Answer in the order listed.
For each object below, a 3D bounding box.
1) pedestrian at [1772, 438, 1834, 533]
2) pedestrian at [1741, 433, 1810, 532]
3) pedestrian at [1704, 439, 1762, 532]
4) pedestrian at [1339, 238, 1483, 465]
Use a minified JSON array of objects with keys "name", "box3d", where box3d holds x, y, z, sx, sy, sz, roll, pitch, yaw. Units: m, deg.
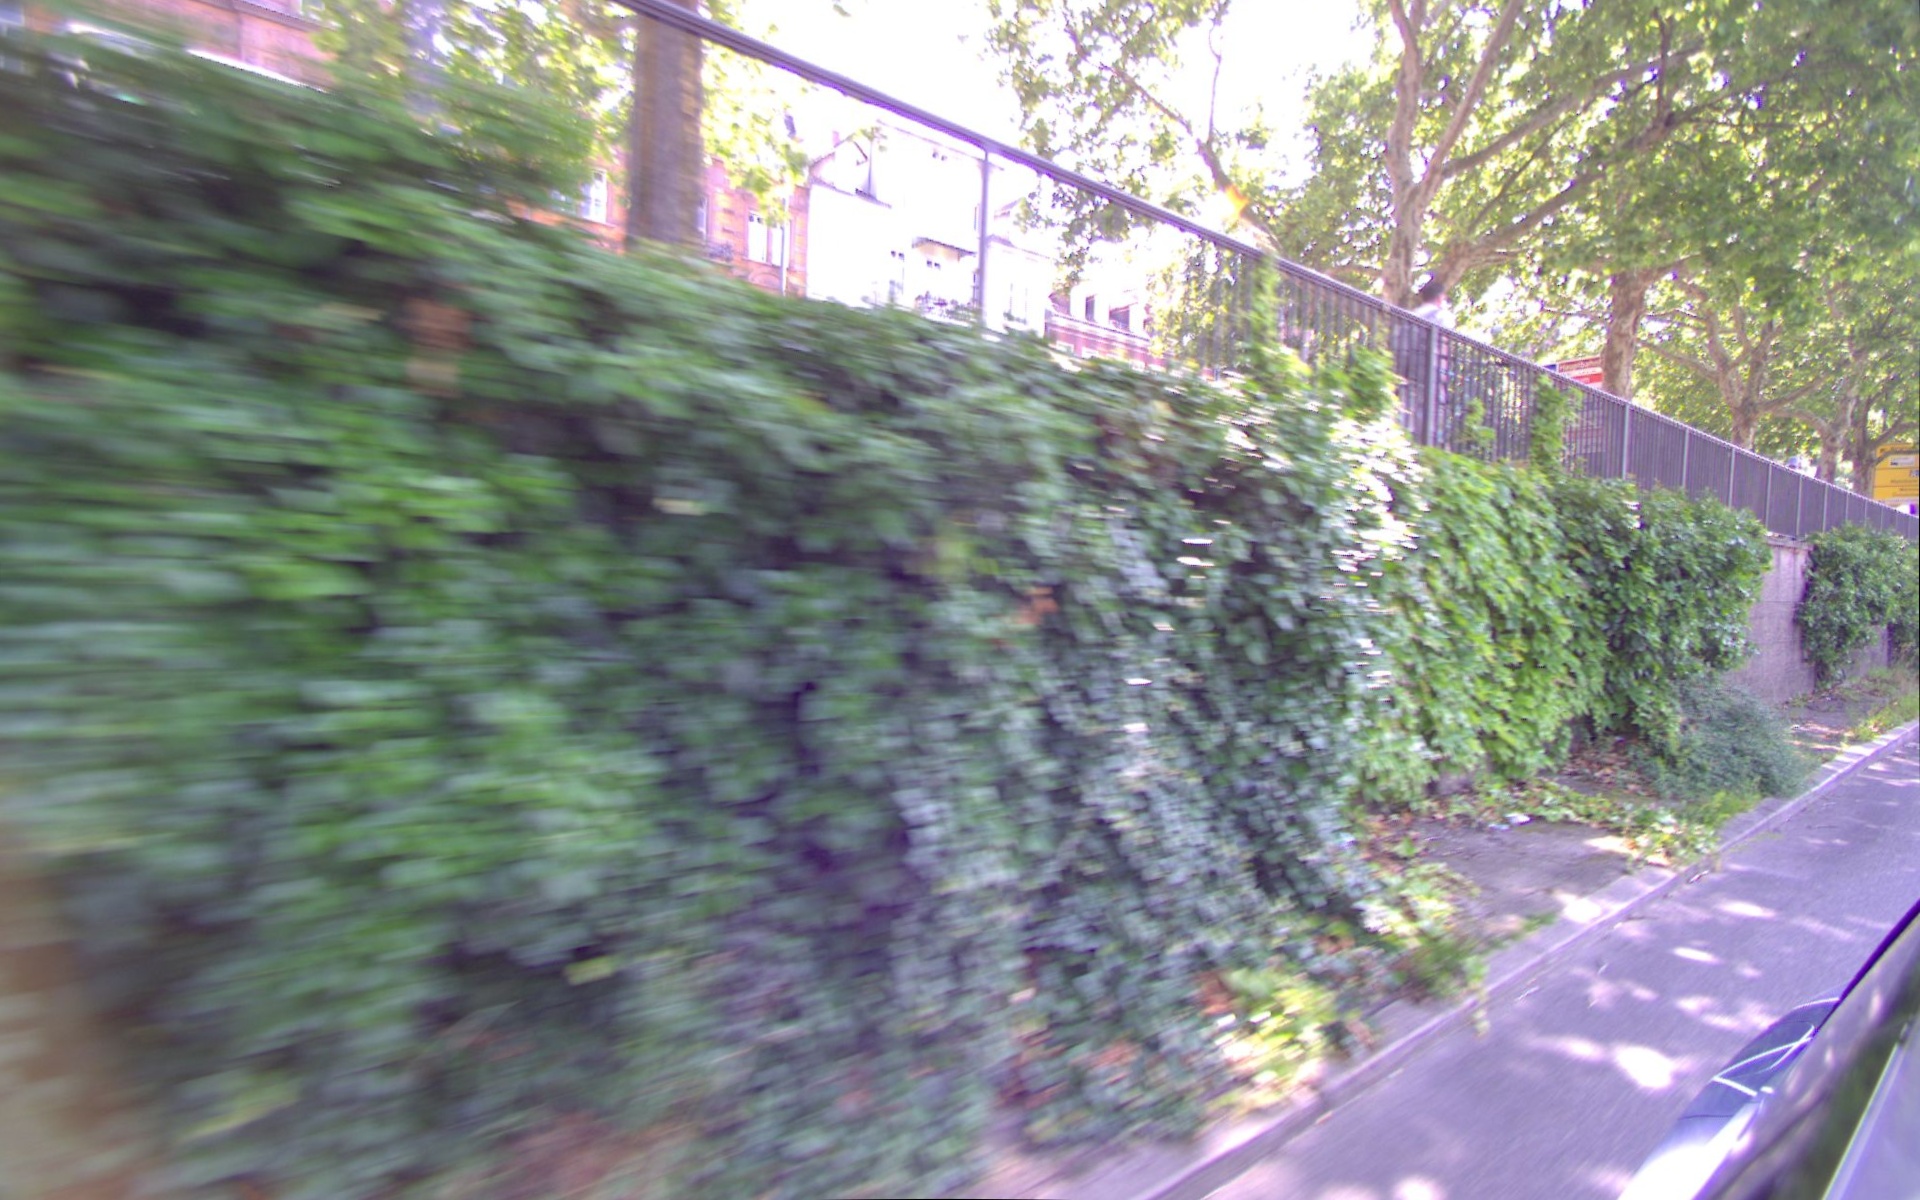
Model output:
[{"name":"pedestrian","box3d":[14.964,-2.013,17.961,0.751,1.610,0.666,1,2,-41]},{"name":"pedestrian","box3d":[14.137,-2.016,17.548,0.796,1.610,0.738,1,2,-41]},{"name":"pedestrian","box3d":[14.117,-2.073,18.489,0.639,1.610,0.666,1,2,-41]},{"name":"pedestrian","box3d":[3.669,-1.956,8.235,0.796,1.610,0.738,1,2,-41]}]
